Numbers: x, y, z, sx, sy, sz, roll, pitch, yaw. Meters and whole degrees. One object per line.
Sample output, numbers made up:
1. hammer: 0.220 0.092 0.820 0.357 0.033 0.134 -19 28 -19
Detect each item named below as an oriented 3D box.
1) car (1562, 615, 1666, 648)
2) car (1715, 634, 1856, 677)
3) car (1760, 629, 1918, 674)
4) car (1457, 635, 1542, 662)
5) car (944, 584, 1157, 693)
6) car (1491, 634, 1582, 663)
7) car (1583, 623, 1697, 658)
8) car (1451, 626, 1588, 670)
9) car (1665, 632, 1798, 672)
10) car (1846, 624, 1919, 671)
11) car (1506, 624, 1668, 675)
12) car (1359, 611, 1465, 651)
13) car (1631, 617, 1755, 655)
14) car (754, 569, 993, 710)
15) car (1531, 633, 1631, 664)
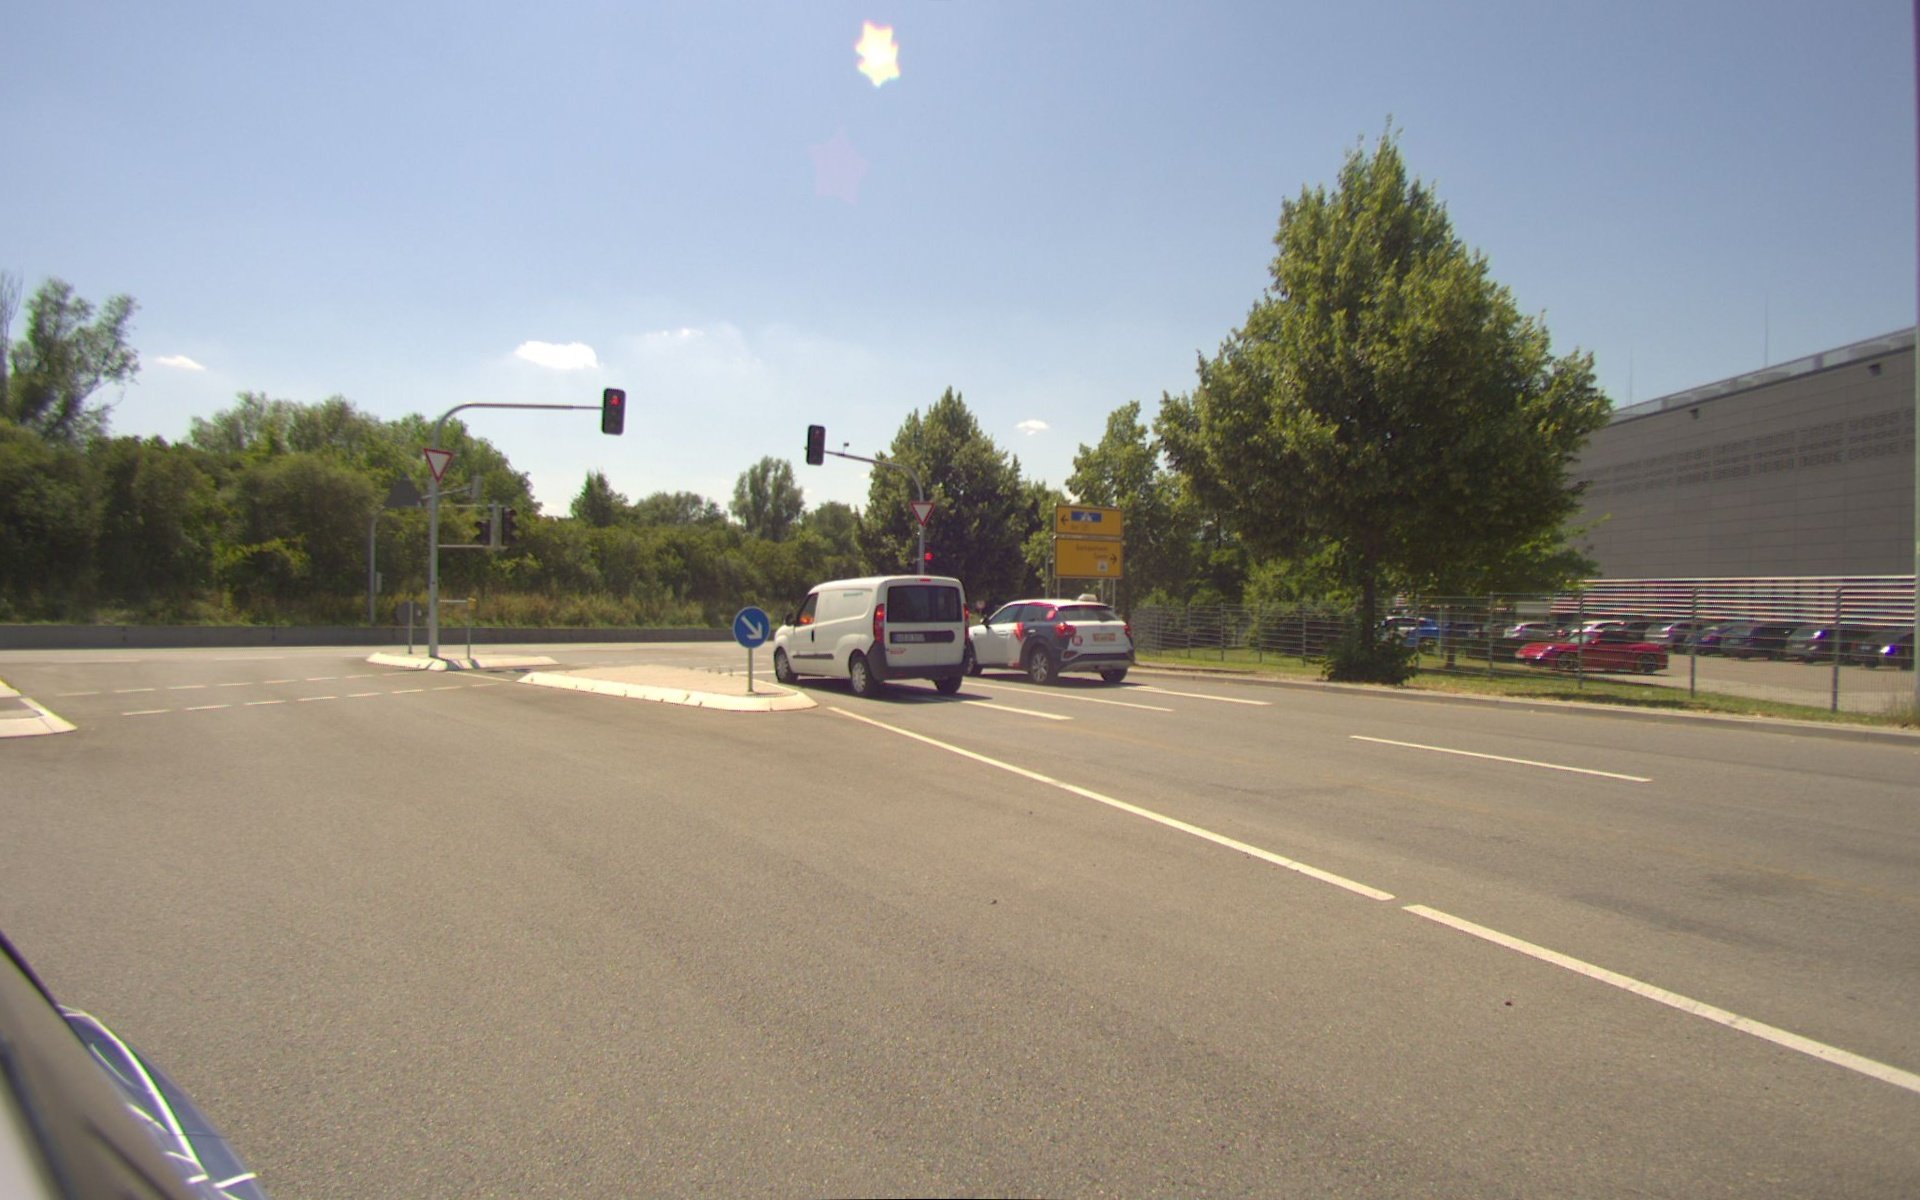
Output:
1. car: 32.094 1.565 49.722 3.941 1.471 1.772 1 -3 -3
2. car: 31.700 2.142 38.920 3.941 1.540 1.821 1 -3 -3
3. car: 31.598 1.863 36.463 3.941 1.497 2.001 1 -3 -3
4. car: 31.606 2.842 59.361 3.941 1.497 2.001 1 -3 -3
5. car: 1.576 0.606 18.843 1.966 1.720 3.876 -3 2 -32
6. car: 32.265 2.722 56.739 3.941 1.497 2.001 1 -3 -3
7. car: 31.686 1.911 47.223 3.941 1.497 2.001 1 -3 -3
8. car: 20.637 1.776 37.469 3.941 1.497 2.001 1 -3 -3
9. car: 31.756 2.138 41.722 3.941 1.497 2.001 1 -3 -3
10. car: 32.282 1.610 33.619 3.941 1.497 2.001 1 -3 -3
11. car: 20.050 1.588 32.479 3.941 1.497 2.001 1 -3 -3
12. car: 20.817 1.463 46.726 3.941 1.719 2.001 1 -3 -3
13. car: 31.909 1.573 44.147 3.941 1.528 1.921 -1 -3 -3
14. car: -1.642 0.531 17.132 1.966 1.957 4.885 -3 2 -32
15. car: 32.111 2.497 52.431 3.941 1.497 2.001 1 -3 -3
